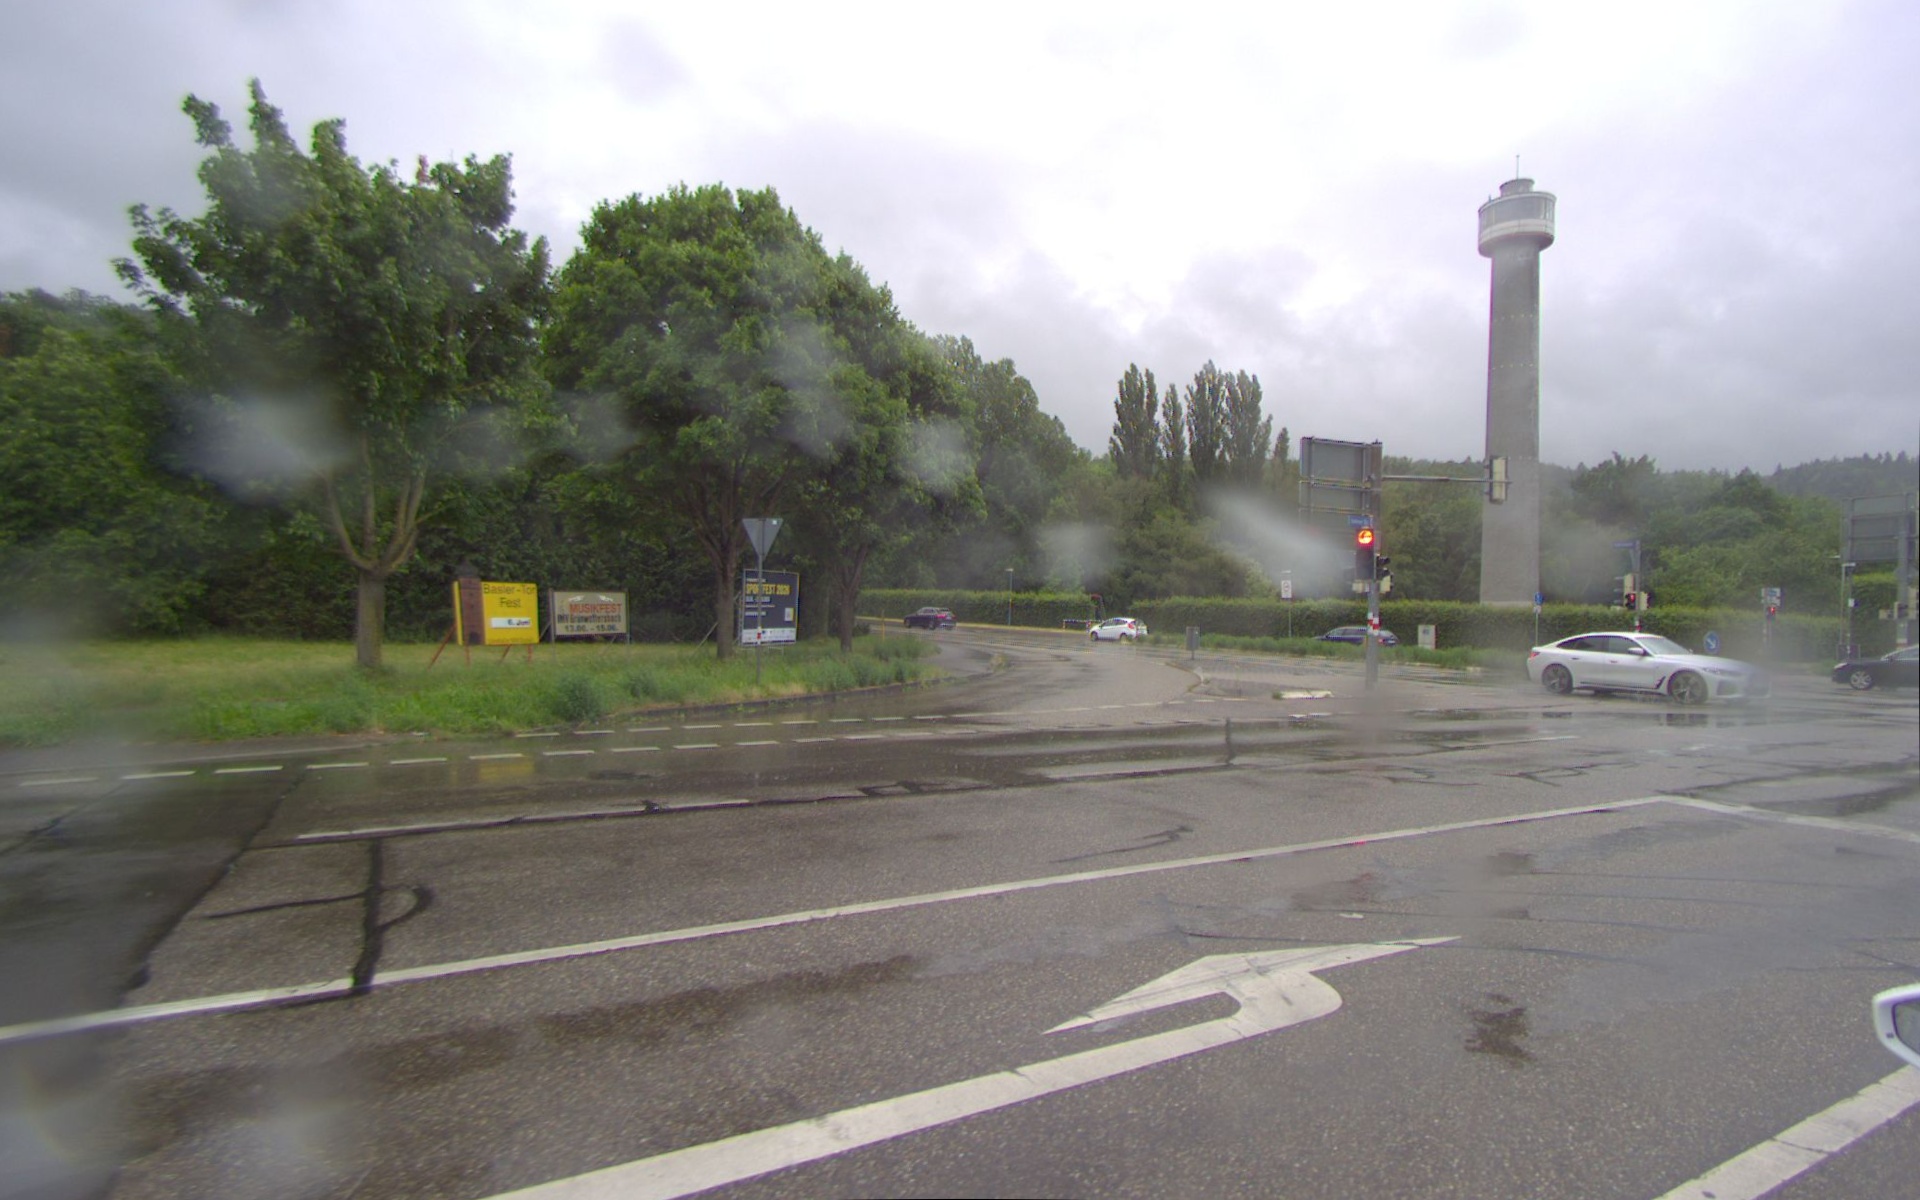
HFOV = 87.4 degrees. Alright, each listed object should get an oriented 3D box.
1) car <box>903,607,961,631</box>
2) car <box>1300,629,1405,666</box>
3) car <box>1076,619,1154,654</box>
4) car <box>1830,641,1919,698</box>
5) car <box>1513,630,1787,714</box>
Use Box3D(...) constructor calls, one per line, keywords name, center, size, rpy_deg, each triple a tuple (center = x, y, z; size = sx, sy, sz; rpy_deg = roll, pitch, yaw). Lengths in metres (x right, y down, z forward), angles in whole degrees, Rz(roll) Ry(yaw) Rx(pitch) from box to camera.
Box3D(name="car", center=(-2.120, 1.394, 74.313), size=(1.808, 1.661, 4.630), rpy_deg=(1, -1, -40))
Box3D(name="car", center=(18.559, 2.228, 47.704), size=(1.800, 1.574, 4.651), rpy_deg=(1, -1, -28))
Box3D(name="car", center=(9.309, 2.175, 60.631), size=(1.898, 1.941, 4.635), rpy_deg=(1, -1, -37))
Box3D(name="car", center=(28.432, 2.032, 29.045), size=(1.799, 1.574, 4.654), rpy_deg=(1, -1, -26))
Box3D(name="car", center=(15.052, 1.497, 22.303), size=(1.773, 1.574, 4.872), rpy_deg=(1, -1, -22))
